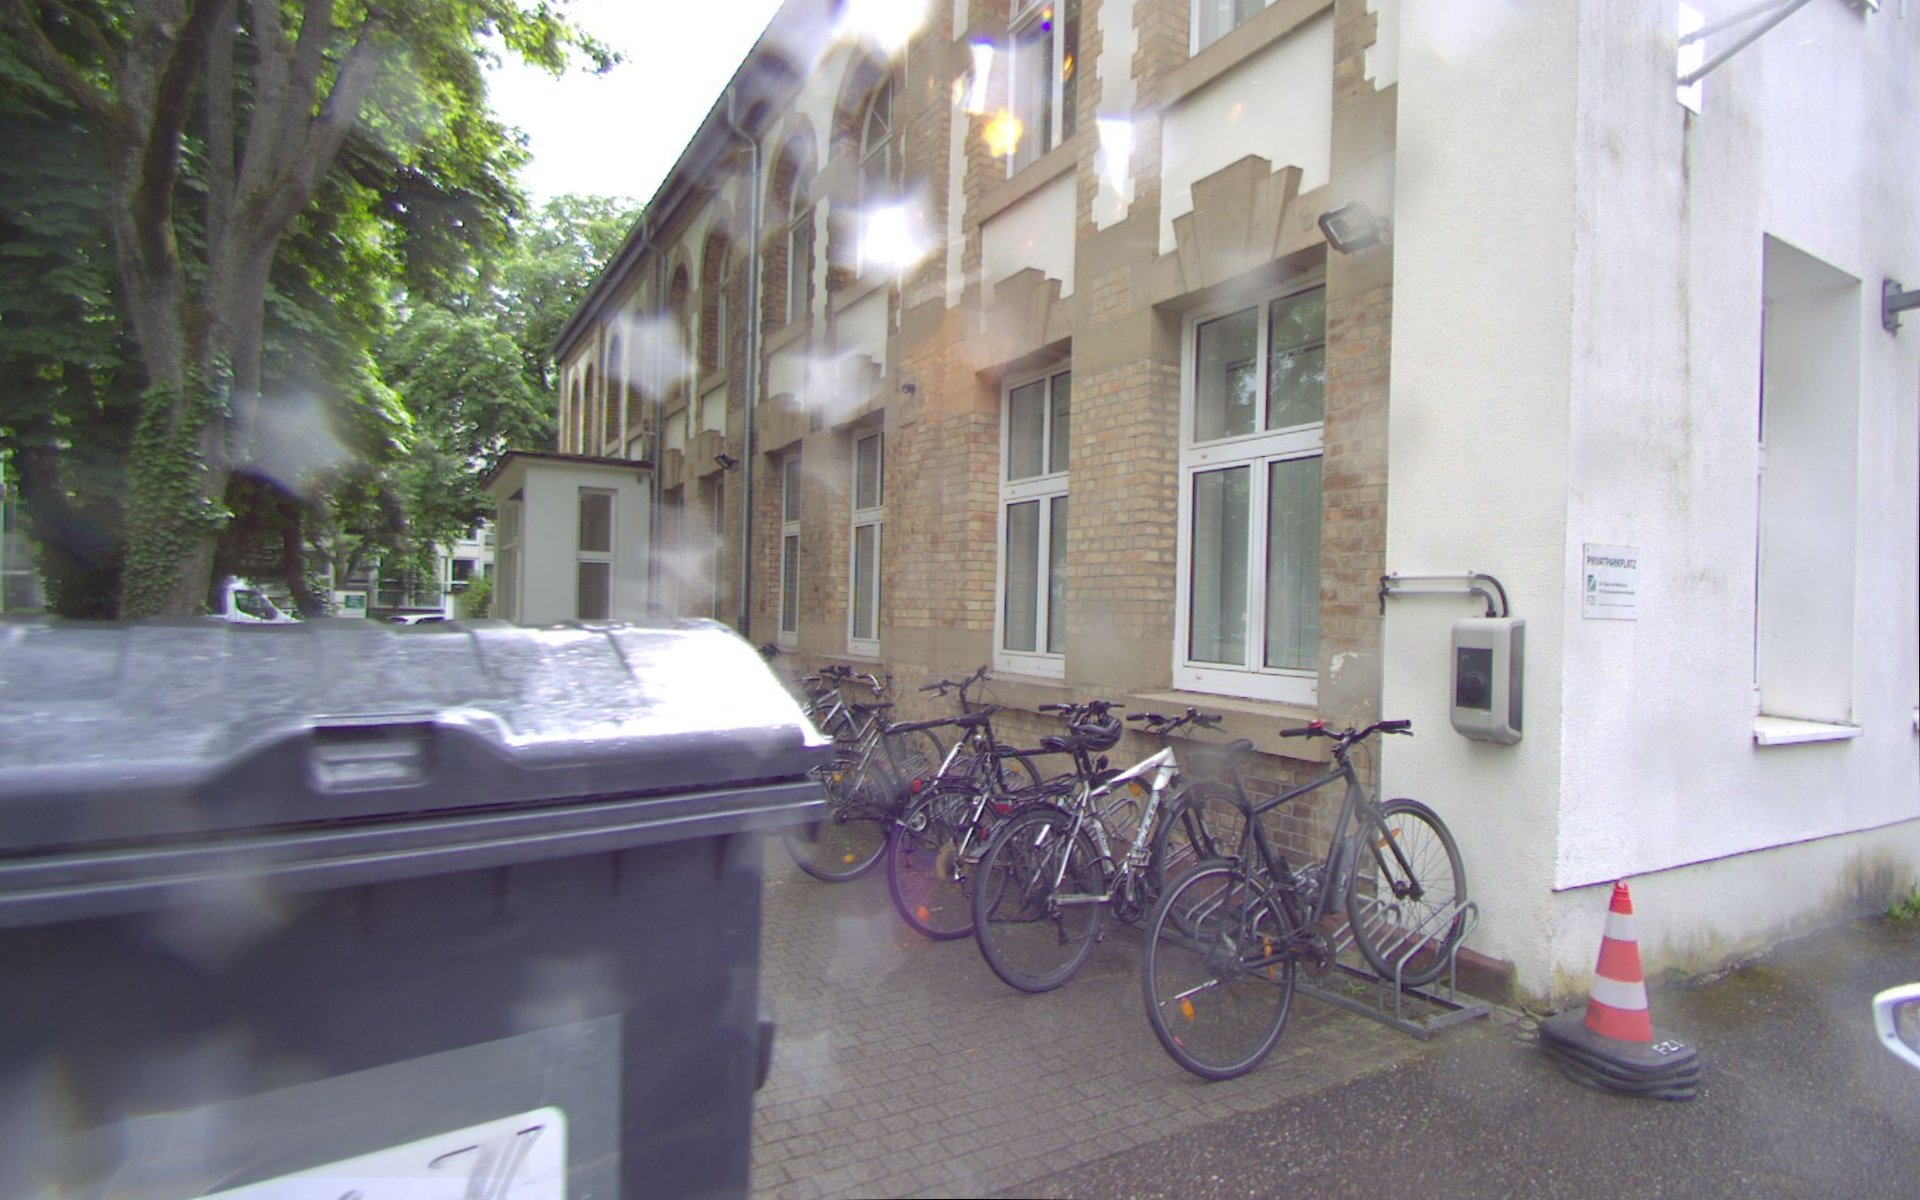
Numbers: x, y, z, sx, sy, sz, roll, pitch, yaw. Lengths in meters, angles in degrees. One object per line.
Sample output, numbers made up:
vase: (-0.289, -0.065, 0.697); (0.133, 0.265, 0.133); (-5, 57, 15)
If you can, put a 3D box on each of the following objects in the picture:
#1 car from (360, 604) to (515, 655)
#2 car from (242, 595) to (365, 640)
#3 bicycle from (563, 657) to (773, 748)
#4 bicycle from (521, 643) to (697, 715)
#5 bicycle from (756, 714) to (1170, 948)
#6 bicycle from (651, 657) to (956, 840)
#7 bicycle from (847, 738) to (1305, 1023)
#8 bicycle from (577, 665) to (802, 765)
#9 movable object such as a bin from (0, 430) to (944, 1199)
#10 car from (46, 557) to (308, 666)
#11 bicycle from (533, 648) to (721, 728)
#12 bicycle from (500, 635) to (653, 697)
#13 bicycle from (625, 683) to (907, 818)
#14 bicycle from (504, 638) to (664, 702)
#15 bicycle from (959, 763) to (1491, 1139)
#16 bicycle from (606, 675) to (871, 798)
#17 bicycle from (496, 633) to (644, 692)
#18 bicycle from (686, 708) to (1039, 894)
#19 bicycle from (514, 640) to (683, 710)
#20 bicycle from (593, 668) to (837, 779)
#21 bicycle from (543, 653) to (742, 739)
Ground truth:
car: (-17.061, 0.981, 33.008); (1.878, 1.542, 4.134); (0, -2, 31)
car: (-28.400, 0.791, 43.603); (4.013, 1.830, 1.787); (2, -2, -11)
bicycle: (-2.990, 1.028, 10.399); (2.033, 0.810, 0.449); (1, 2, -31)
bicycle: (-4.361, 0.962, 12.557); (2.033, 0.810, 0.449); (1, 2, -31)
bicycle: (0.078, 1.024, 4.814); (2.033, 0.810, 0.449); (1, 2, -31)
bicycle: (-1.027, 0.955, 6.890); (2.033, 1.052, 0.449); (1, 2, -31)
bicycle: (0.557, 1.075, 4.202); (2.033, 0.810, 0.449); (1, 2, -31)
bicycle: (-2.559, 1.071, 9.632); (2.033, 0.810, 0.449); (1, 2, -31)
movable object such as a bin: (-0.957, 0.572, 1.694); (1.350, 1.490, 1.352); (1, 2, -31)
car: (-20.778, 0.368, 26.927); (2.058, 2.615, 5.071); (0, -2, 31)
bicycle: (-3.844, 0.998, 11.689); (2.033, 0.810, 0.449); (1, 2, -31)
bicycle: (-5.556, 0.938, 14.608); (2.033, 0.810, 0.449); (1, 2, -31)
bicycle: (-1.407, 1.081, 7.514); (2.033, 0.810, 0.449); (1, 2, -31)
bicycle: (-5.217, 0.950, 14.000); (2.033, 0.810, 0.449); (1, 2, -31)
bicycle: (0.991, 1.072, 3.445); (2.033, 0.810, 0.449); (1, 2, -31)
bicycle: (-1.736, 1.050, 8.055); (2.033, 0.810, 0.449); (1, 2, -31)
bicycle: (-5.870, 0.922, 15.168); (2.033, 0.810, 0.449); (1, 2, -31)
bicycle: (-0.510, 1.104, 5.836); (2.033, 0.810, 0.449); (1, 2, -31)
bicycle: (-4.714, 0.959, 13.164); (2.033, 0.810, 0.449); (1, 2, -31)
bicycle: (-2.104, 1.042, 8.780); (2.033, 0.810, 0.449); (1, 2, -31)
bicycle: (-3.452, 1.022, 11.011); (2.033, 0.810, 0.449); (1, 2, -31)
